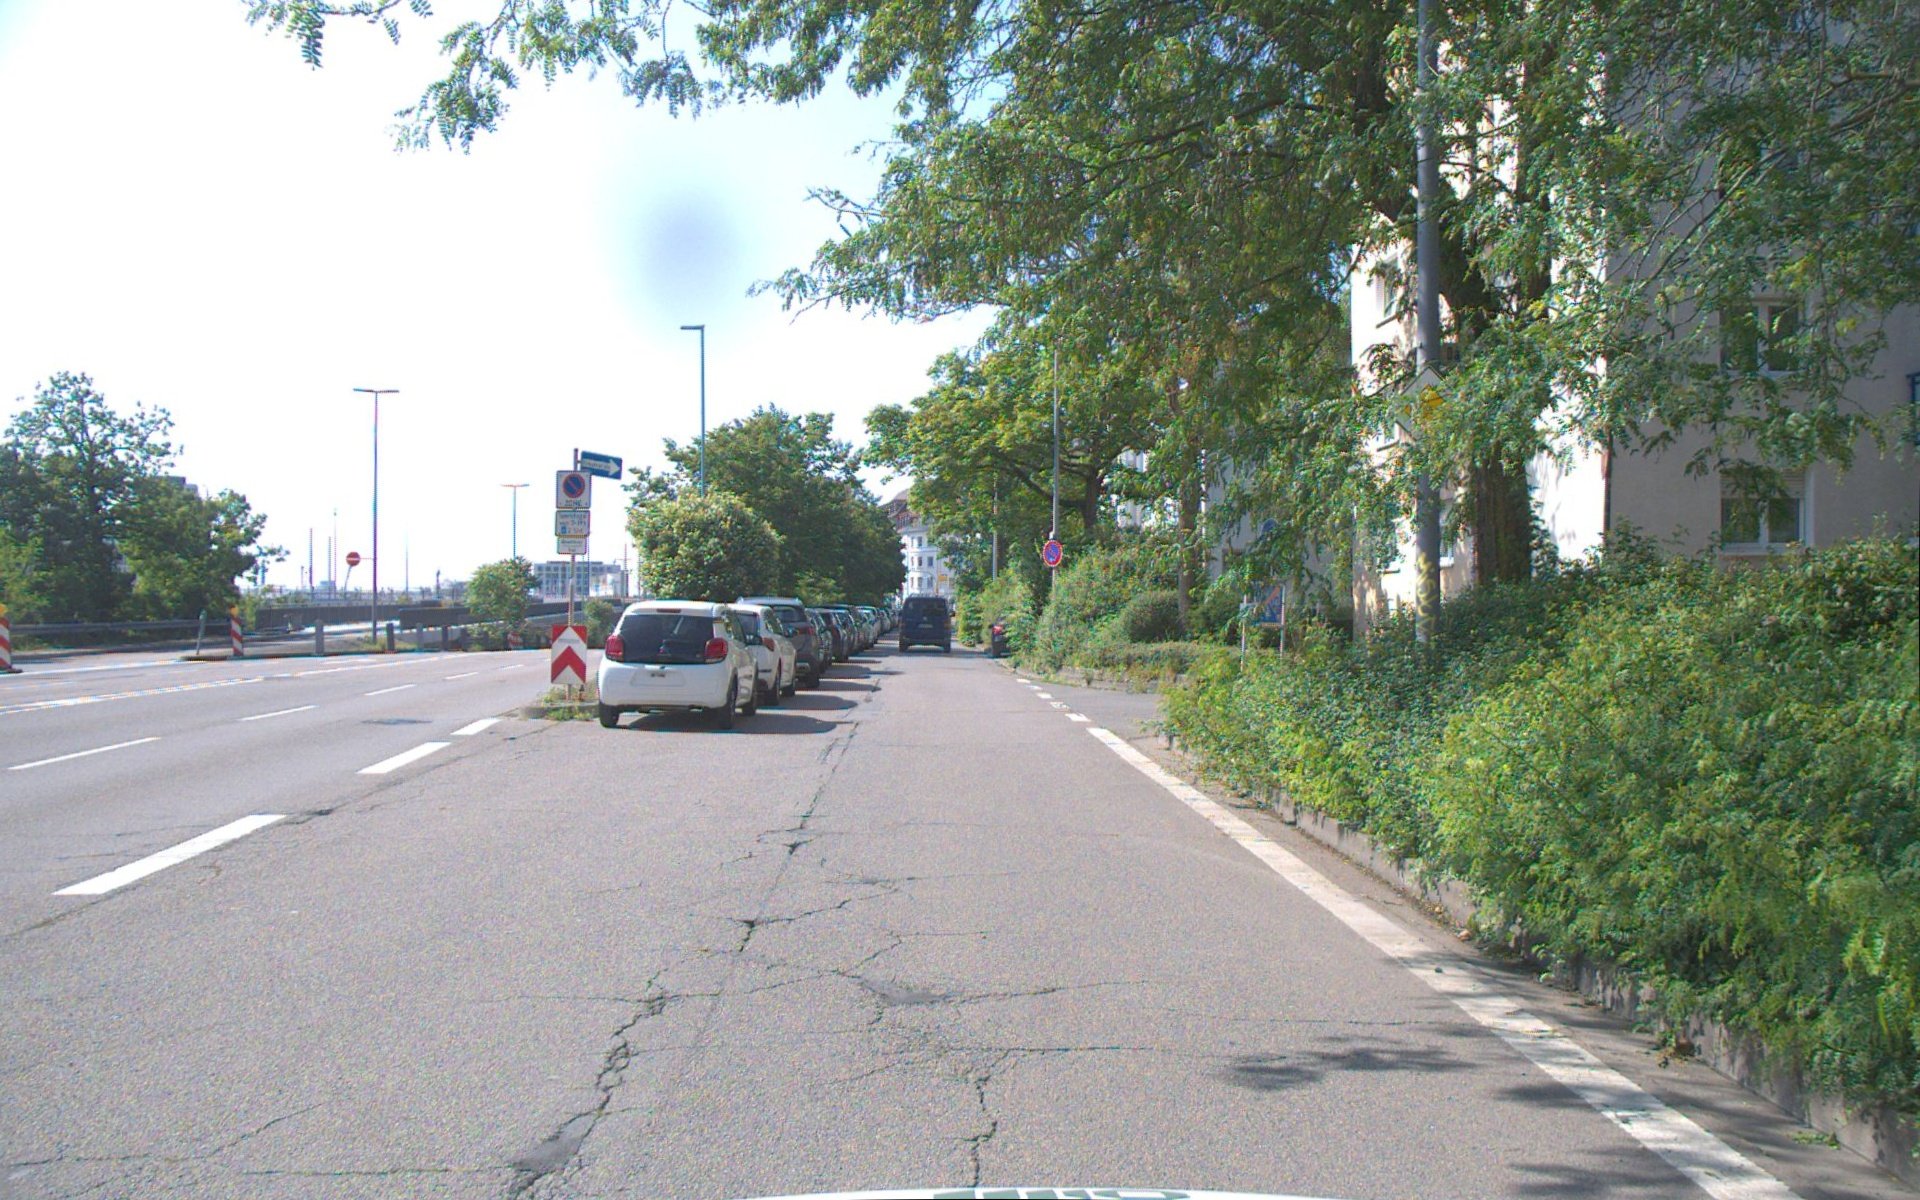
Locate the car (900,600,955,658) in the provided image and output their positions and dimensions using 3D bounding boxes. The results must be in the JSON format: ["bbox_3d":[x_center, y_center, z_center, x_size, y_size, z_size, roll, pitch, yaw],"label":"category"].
[{"bbox_3d":[-1.161,1.007,59.671,1.844,1.955,4.007,2,0,-1],"label":"car"}]

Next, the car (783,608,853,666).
[{"bbox_3d":[-3.964,1.006,46.675,1.630,1.499,3.788,2,0,-1],"label":"car"}]

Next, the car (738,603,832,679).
[{"bbox_3d":[-3.794,0.862,36.300,1.630,1.500,3.875,3,0,-1],"label":"car"}]

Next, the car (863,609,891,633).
[{"bbox_3d":[-5.264,1.320,105.606,1.630,1.536,4.007,0,0,-1],"label":"car"}]

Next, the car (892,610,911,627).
[{"bbox_3d":[-5.949,1.908,168.633,1.953,1.686,3.998,0,-1,-2],"label":"car"}]

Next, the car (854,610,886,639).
[{"bbox_3d":[-5.142,1.398,94.521,1.630,1.536,4.007,2,0,-1],"label":"car"}]

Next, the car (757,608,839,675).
[{"bbox_3d":[-4.042,1.007,41.778,1.630,1.538,4.593,2,0,-1],"label":"car"}]

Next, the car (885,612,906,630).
[{"bbox_3d":[-6.194,1.973,158.823,1.953,1.686,3.998,0,-1,-2],"label":"car"}]

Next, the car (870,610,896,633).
[{"bbox_3d":[-5.391,1.480,116.611,1.630,1.536,4.007,2,0,-1],"label":"car"}]

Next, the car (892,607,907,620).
[{"bbox_3d":[-7.708,1.737,211.448,1.953,1.686,3.998,0,-1,-2],"label":"car"}]

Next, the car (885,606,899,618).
[{"bbox_3d":[-9.754,1.675,236.340,1.953,1.686,3.739,0,-1,-2],"label":"car"}]

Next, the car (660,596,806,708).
[{"bbox_3d":[-3.409,0.740,25.511,1.686,1.531,4.131,2,0,-1],"label":"car"}]

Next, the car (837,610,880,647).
[{"bbox_3d":[-4.444,1.242,73.022,1.630,1.494,4.200,2,0,-1],"label":"car"}]

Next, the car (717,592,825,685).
[{"bbox_3d":[-3.476,0.669,30.995,1.736,1.607,4.184,0,0,-3],"label":"car"}]

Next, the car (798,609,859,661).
[{"bbox_3d":[-4.156,1.084,52.609,1.630,1.538,3.788,2,0,-1],"label":"car"}]

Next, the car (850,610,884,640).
[{"bbox_3d":[-5.024,1.342,89.634,1.630,1.536,4.007,2,0,-1],"label":"car"}]

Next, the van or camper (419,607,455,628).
[{"bbox_3d":[-34.283,1.144,108.494,1.439,1.373,4.623,0,0,-7],"label":"van or camper"}]

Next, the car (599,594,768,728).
[{"bbox_3d":[-3.412,0.711,20.947,1.586,1.532,3.461,1,0,-1],"label":"car"}]

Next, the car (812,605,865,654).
[{"bbox_3d":[-4.181,0.994,57.355,1.630,1.611,3.930,0,0,-1],"label":"car"}]

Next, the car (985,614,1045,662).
[{"bbox_3d":[1.768,1.212,53.968,1.691,1.445,3.999,-1,-1,-1],"label":"car"}]
